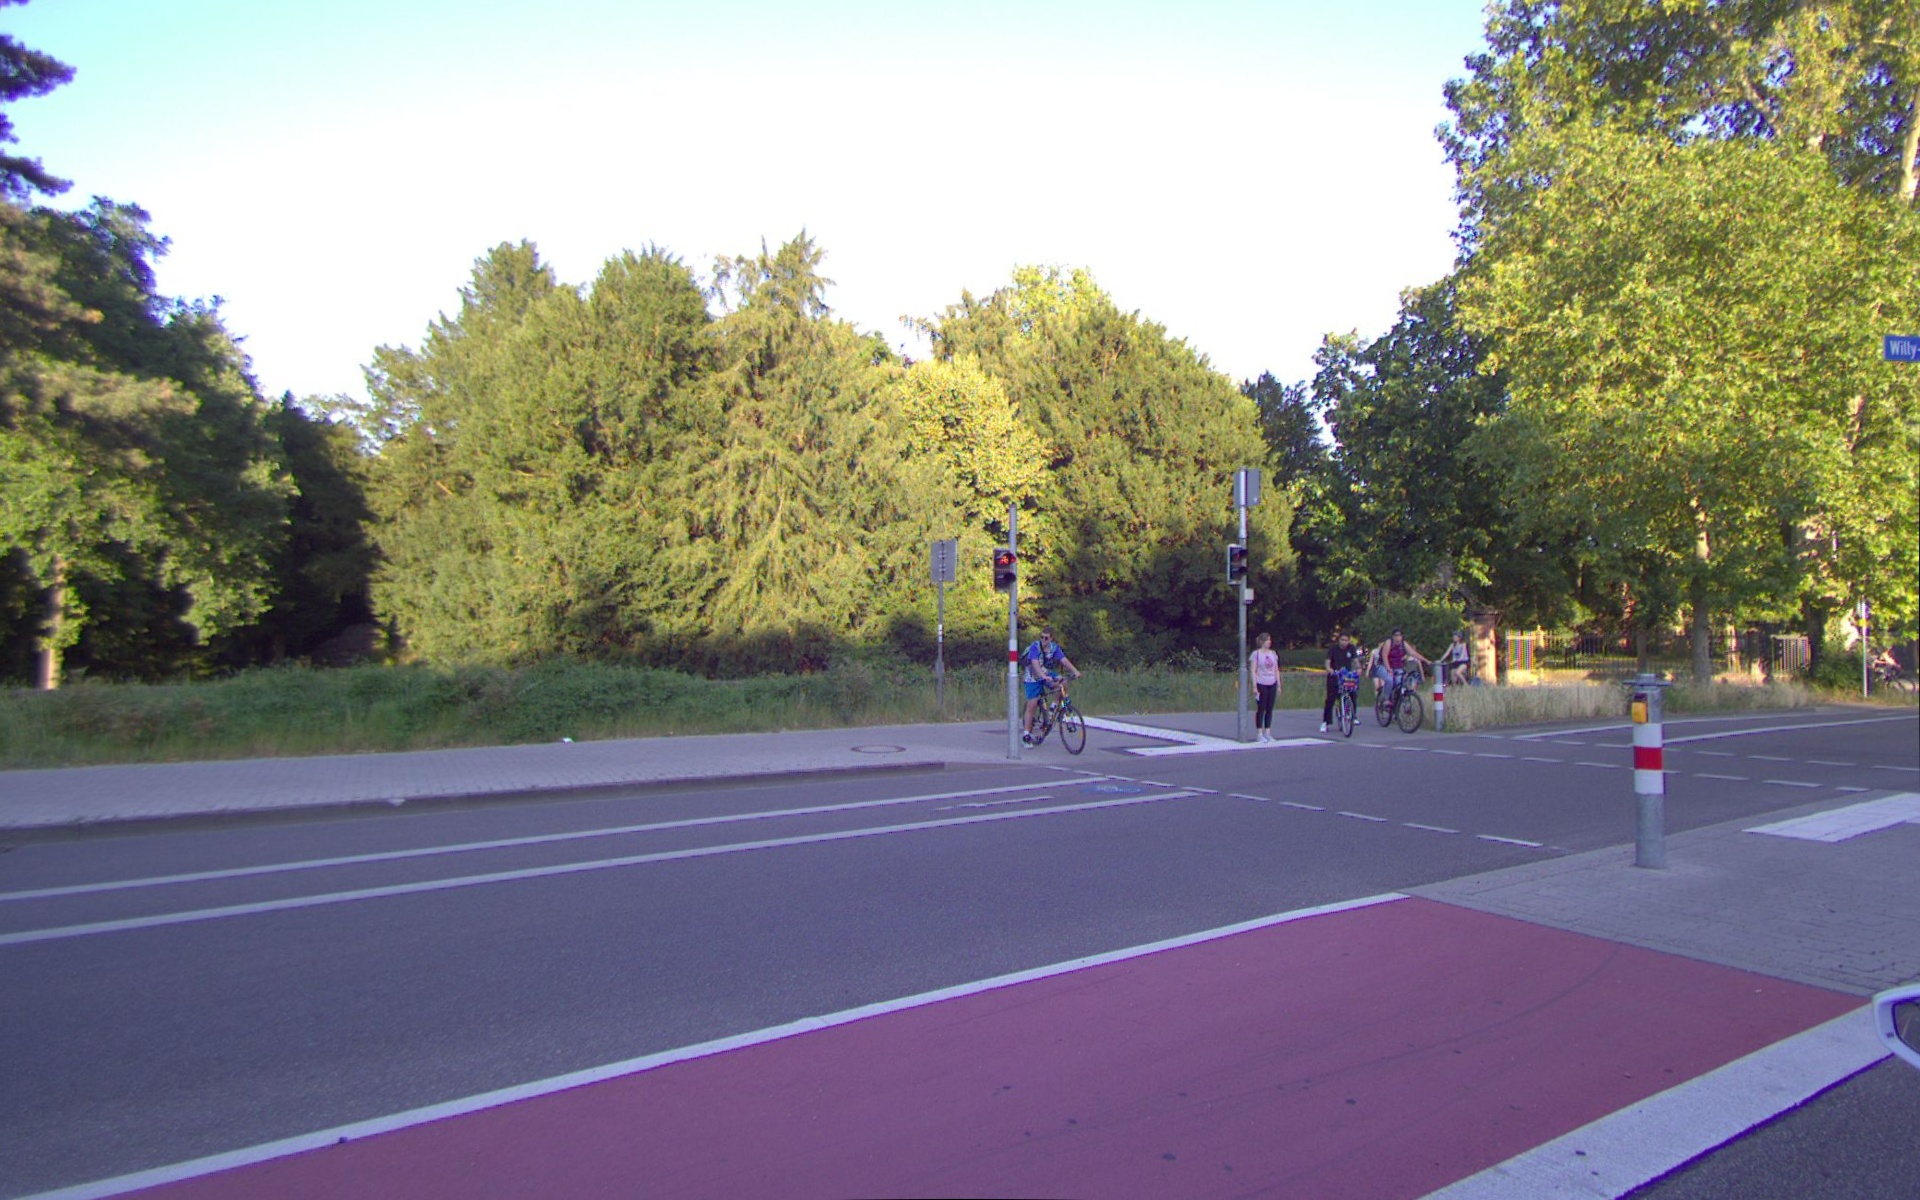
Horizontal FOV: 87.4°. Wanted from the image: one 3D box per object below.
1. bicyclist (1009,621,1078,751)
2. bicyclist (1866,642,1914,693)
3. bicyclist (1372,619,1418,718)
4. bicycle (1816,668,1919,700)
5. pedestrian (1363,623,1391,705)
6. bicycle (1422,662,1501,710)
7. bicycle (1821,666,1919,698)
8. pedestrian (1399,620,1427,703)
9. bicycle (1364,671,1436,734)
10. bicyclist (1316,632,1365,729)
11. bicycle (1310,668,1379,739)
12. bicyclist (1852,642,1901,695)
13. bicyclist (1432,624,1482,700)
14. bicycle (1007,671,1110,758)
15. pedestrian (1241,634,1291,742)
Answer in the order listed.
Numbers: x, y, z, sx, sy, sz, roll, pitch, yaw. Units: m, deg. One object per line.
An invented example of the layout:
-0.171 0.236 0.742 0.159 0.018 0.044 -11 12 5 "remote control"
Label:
1.233 1.247 14.905 0.730 1.848 0.705 1 -1 -34 "bicyclist"
30.754 2.220 33.217 0.743 1.652 0.954 1 -2 -29 "bicyclist"
8.034 1.261 18.585 0.564 1.803 0.640 0 -2 1 "bicyclist"
29.169 2.675 32.269 0.765 0.936 2.420 1 -2 -29 "bicycle"
10.505 1.600 25.305 0.638 2.040 0.606 0 -1 22 "pedestrian"
12.028 2.037 24.047 2.275 1.046 0.734 2 -1 -36 "bicycle"
30.514 2.732 33.641 0.765 0.936 2.420 1 -2 -29 "bicycle"
11.299 1.516 25.046 0.584 2.040 0.642 0 -1 20 "pedestrian"
8.023 1.847 18.378 0.568 1.043 1.772 0 -2 1 "bicycle"
6.688 1.402 17.663 0.618 1.671 0.640 0 -2 1 "bicyclist"
6.677 1.782 17.512 0.620 1.126 1.569 0 -2 1 "bicycle"
29.283 2.174 32.106 0.743 1.652 0.954 1 -2 -29 "bicyclist"
11.851 1.466 23.960 0.936 1.751 0.749 2 -1 -38 "bicyclist"
1.403 1.637 14.802 0.760 1.115 2.115 1 -2 -17 "bicycle"
4.981 1.409 16.379 0.492 1.718 0.604 1 -2 -28 "pedestrian"
